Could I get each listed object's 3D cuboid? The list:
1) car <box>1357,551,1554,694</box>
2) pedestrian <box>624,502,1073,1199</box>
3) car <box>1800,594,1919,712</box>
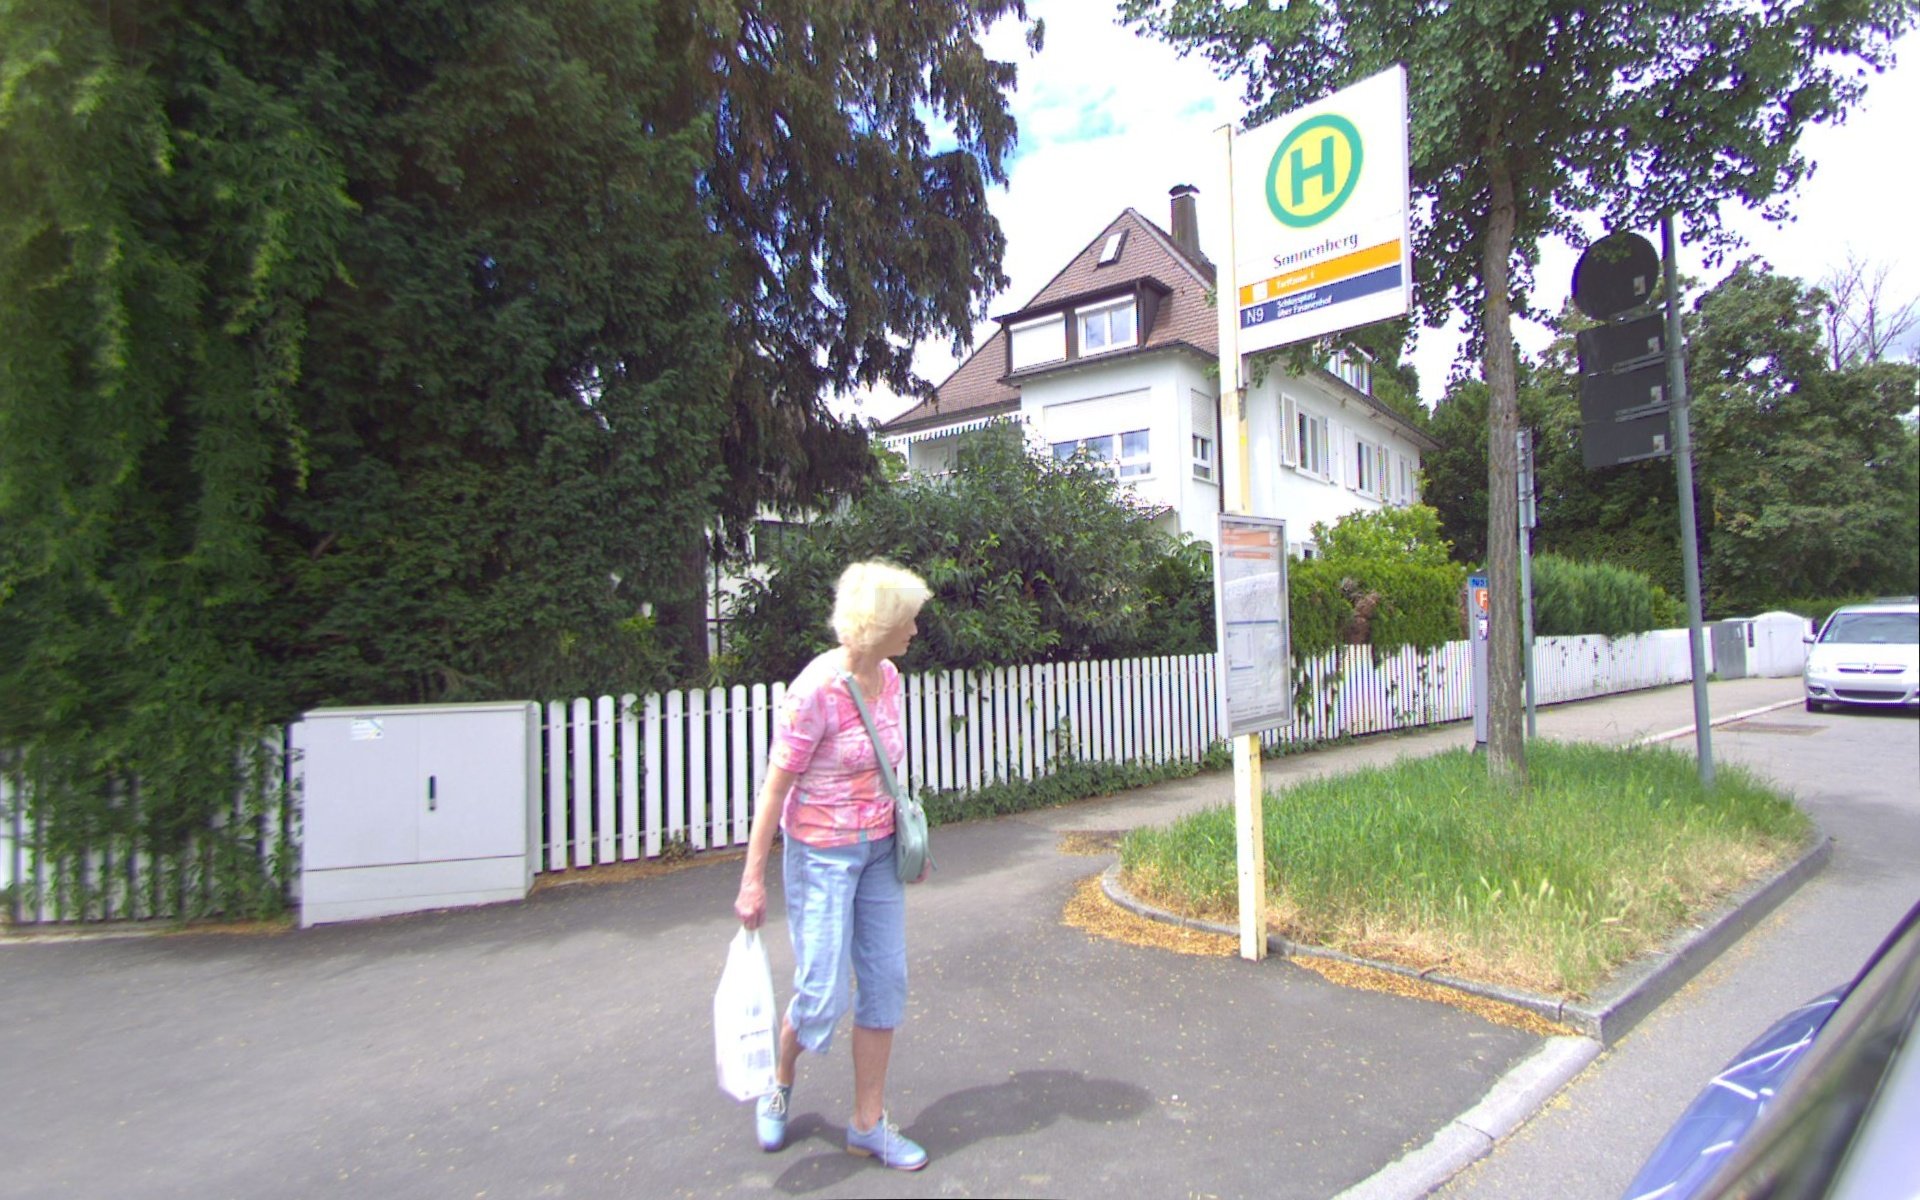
[{"bbox_3d":[10.975,0.517,22.204,2.494,2.717,5.109,-6,-4,41],"label":"car"},{"bbox_3d":[-0.327,0.633,2.786,0.868,1.666,0.855,0,-3,-39],"label":"pedestrian"},{"bbox_3d":[14.323,0.713,15.381,3.948,1.602,1.762,0,-1,-41],"label":"car"}]
